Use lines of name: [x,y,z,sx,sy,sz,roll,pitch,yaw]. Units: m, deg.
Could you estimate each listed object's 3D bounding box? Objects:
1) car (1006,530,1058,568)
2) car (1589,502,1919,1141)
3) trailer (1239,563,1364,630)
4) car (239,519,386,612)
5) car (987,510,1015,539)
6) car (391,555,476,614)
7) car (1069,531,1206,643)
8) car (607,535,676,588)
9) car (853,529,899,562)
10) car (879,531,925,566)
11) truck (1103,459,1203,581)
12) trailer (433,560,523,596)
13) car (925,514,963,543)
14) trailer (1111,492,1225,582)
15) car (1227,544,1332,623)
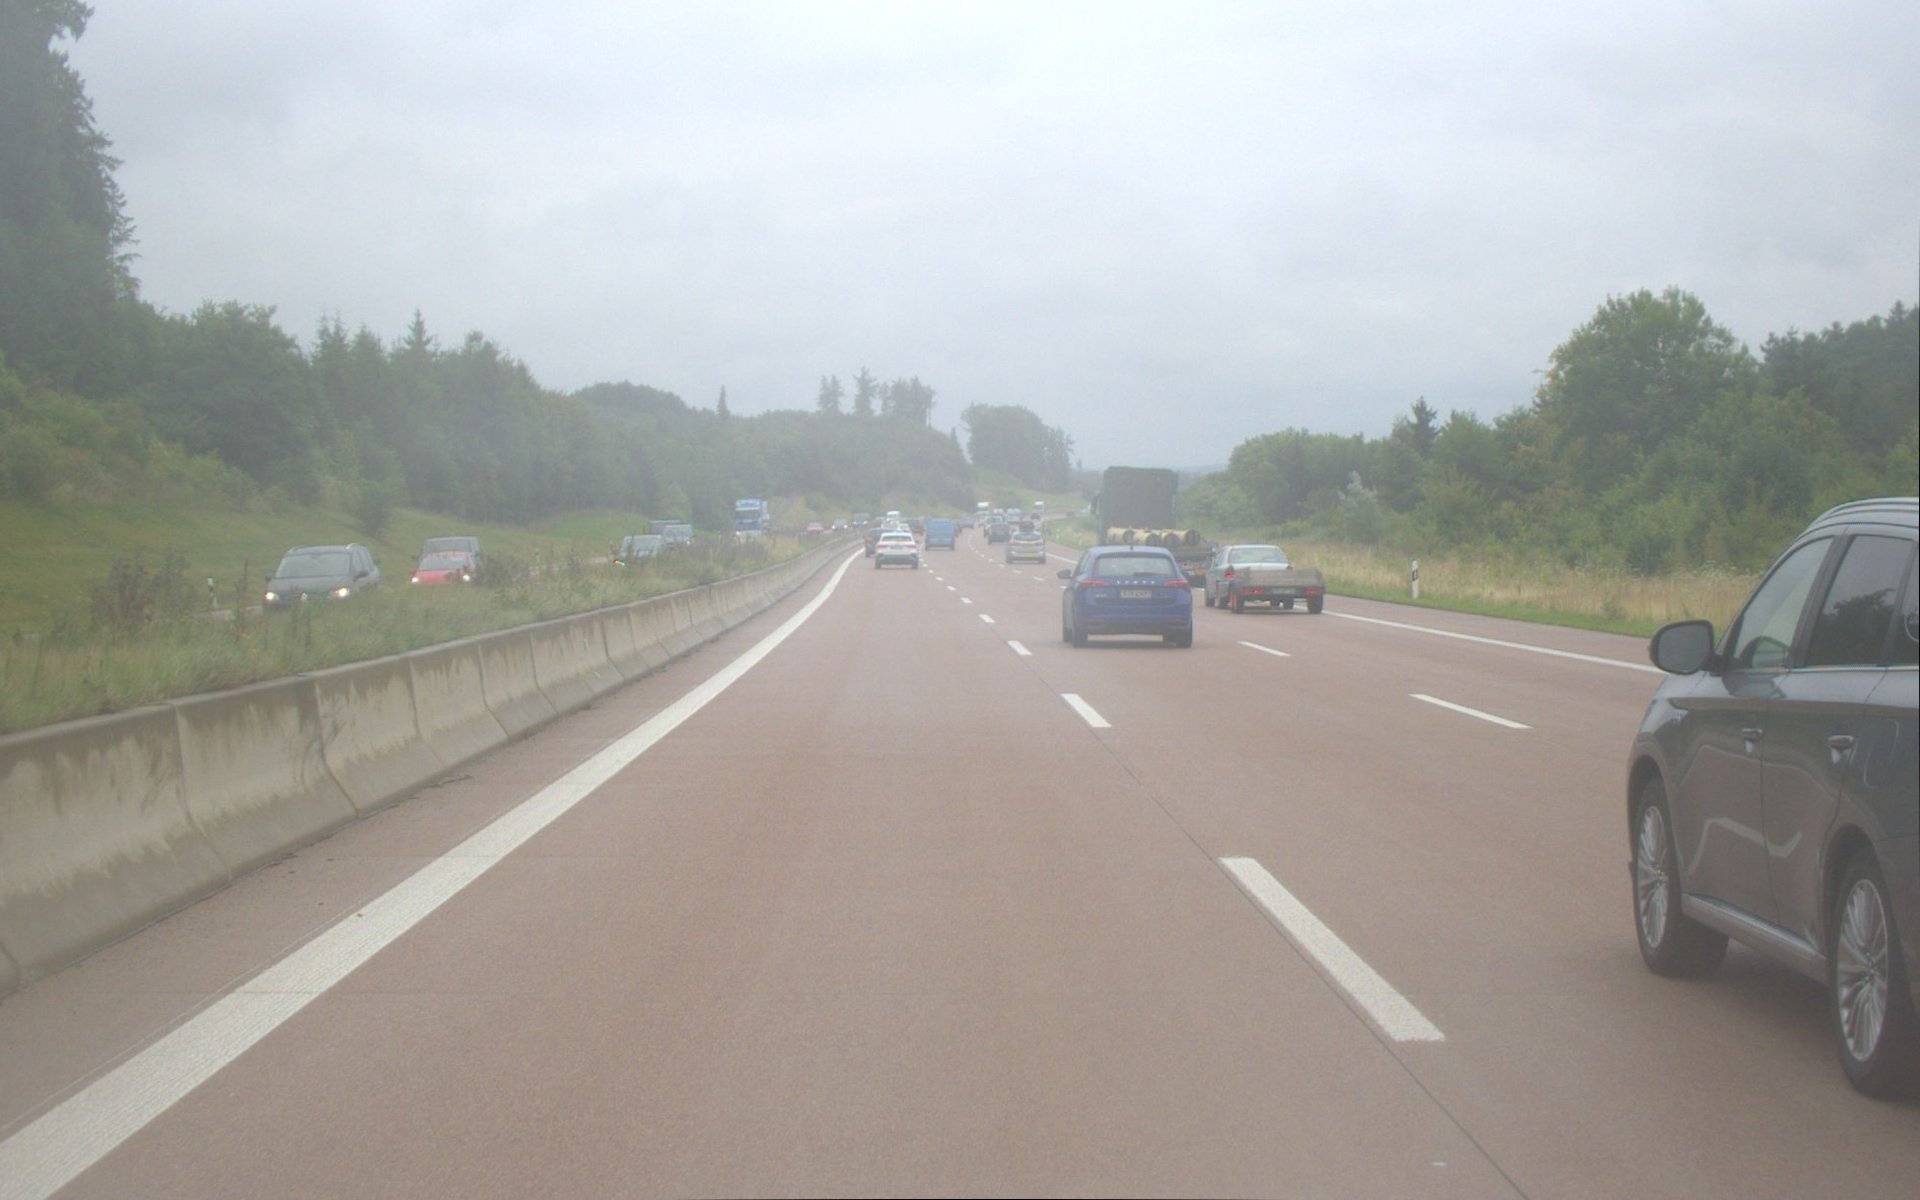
car: [3.423,-2.426,164.153,2.322,1.744,4.877,1,0,0]
car: [3.389,0.550,10.102,1.993,1.587,5.820,1,0,0]
trailer: [6.755,-0.087,68.431,1.971,1.162,4.639,1,2,0]
car: [-12.926,-0.728,68.930,1.993,1.761,5.095,0,2,0]
car: [3.044,-5.580,254.079,1.993,2.007,4.000,1,0,0]
car: [-14.160,-0.422,92.605,1.726,1.524,4.117,1,0,-1]
car: [2.571,-0.200,50.619,1.771,1.558,4.147,1,0,0]
car: [-11.047,-1.326,119.421,1.890,1.773,4.938,1,0,0]
car: [-4.495,-2.918,185.233,2.322,1.744,4.877,1,0,0]
car: [-2.444,-2.191,146.410,1.874,1.439,4.877,1,0,0]
truck: [6.494,-2.649,116.400,2.897,3.951,6.989,1,0,0]
trailer: [-16.549,-0.772,118.399,2.205,0.994,6.852,-5,1,-1]
car: [-0.998,-4.534,218.127,2.322,1.744,4.877,1,0,0]
trailer: [6.480,-1.943,108.723,2.881,2.666,11.399,1,0,0]
car: [6.773,-0.366,73.210,1.698,1.606,4.977,0,1,-1]
